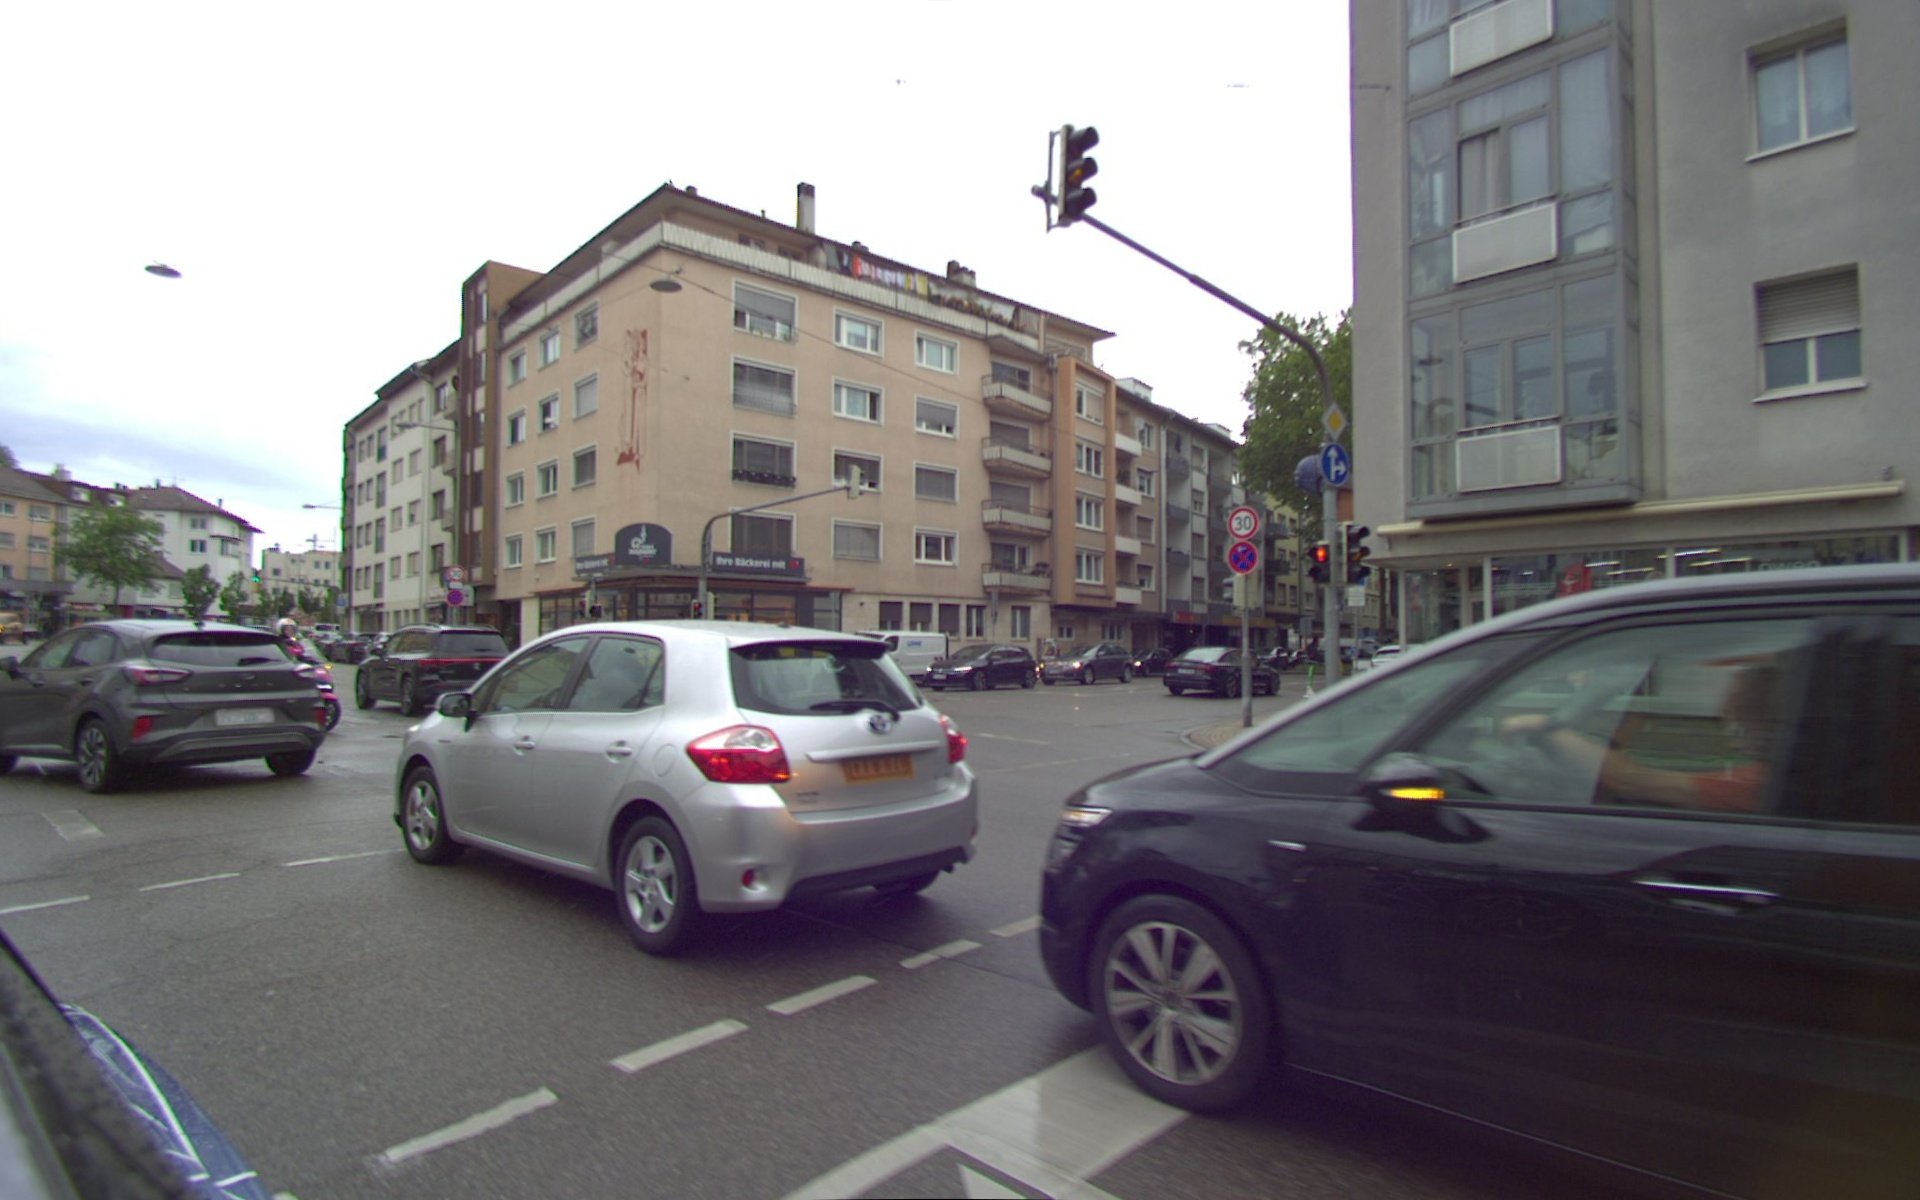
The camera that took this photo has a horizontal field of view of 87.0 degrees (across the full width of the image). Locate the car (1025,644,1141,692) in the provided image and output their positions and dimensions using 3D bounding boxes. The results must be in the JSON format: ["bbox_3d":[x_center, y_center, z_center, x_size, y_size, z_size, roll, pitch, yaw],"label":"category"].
[{"bbox_3d":[4.504,2.413,36.450,2.044,1.602,4.595,-3,-4,38],"label":"car"}]

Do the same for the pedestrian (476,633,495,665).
[{"bbox_3d":[-23.387,2.411,49.876,0.668,1.595,0.538,-1,-2,35],"label":"pedestrian"}]

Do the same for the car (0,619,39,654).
[{"bbox_3d":[-60.135,2.275,63.014,2.162,2.102,5.952,1,-2,-22],"label":"car"}]

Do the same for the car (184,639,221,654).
[{"bbox_3d":[-73.015,4.461,97.576,1.783,1.352,4.013,0,-1,-21],"label":"car"}]

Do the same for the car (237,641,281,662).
[{"bbox_3d":[-58.232,4.260,84.124,1.836,1.659,4.267,3,-3,-19],"label":"car"}]

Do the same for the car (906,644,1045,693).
[{"bbox_3d":[0.542,2.076,31.054,2.044,1.387,4.283,-3,-4,39],"label":"car"}]

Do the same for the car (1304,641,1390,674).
[{"bbox_3d":[21.305,3.198,55.763,3.993,1.674,1.867,-4,-3,37],"label":"car"}]

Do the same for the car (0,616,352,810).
[{"bbox_3d":[-8.199,0.968,10.046,4.208,1.565,1.843,0,-3,29],"label":"car"}]

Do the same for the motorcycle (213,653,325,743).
[{"bbox_3d":[-10.183,1.402,14.881,2.096,1.200,0.582,-1,-2,33],"label":"motorcycle"}]

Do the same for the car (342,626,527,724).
[{"bbox_3d":[-10.083,1.359,19.260,4.374,1.652,1.800,-2,-4,44],"label":"car"}]

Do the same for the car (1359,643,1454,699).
[{"bbox_3d":[14.419,2.239,32.580,2.041,1.644,4.289,-1,-3,34],"label":"car"}]

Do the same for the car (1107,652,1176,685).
[{"bbox_3d":[9.249,3.439,51.411,1.837,1.502,4.212,2,-1,34],"label":"car"}]

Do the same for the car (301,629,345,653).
[{"bbox_3d":[-59.176,3.762,94.066,2.089,2.029,5.143,-1,0,-15],"label":"car"}]

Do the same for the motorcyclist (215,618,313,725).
[{"bbox_3d":[-10.281,1.028,14.964,0.862,1.505,0.907,-1,-2,32],"label":"motorcyclist"}]

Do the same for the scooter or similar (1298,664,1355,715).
[{"bbox_3d":[8.137,1.995,22.478,1.128,1.103,0.362,-3,-5,24],"label":"scooter or similar"}]

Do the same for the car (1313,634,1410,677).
[{"bbox_3d":[22.960,3.217,58.012,4.762,2.324,1.867,-4,-3,37],"label":"car"}]

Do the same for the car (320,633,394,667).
[{"bbox_3d":[-28.802,2.365,48.269,1.970,1.488,4.521,4,-4,-44],"label":"car"}]

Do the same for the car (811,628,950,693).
[{"bbox_3d":[-2.792,2.150,36.353,2.047,2.118,4.798,1,-1,43],"label":"car"}]

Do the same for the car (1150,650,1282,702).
[{"bbox_3d":[7.624,2.208,29.844,1.999,1.398,4.438,-1,-4,41],"label":"car"}]

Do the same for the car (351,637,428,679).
[{"bbox_3d":[-23.699,2.383,41.952,1.884,1.566,4.638,4,-4,-40],"label":"car"}]

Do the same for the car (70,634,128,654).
[{"bbox_3d":[-66.388,3.377,78.085,1.813,1.453,4.010,-1,-1,-14],"label":"car"}]

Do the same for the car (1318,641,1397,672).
[{"bbox_3d":[23.778,3.396,60.639,3.993,1.674,1.867,-4,-3,37],"label":"car"}]

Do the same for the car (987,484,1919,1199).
[{"bbox_3d":[2.308,0.634,2.617,4.433,1.620,1.800,-1,-3,45],"label":"car"}]

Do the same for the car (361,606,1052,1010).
[{"bbox_3d":[-1.702,0.843,5.973,4.133,1.538,1.914,0,-3,41],"label":"car"}]

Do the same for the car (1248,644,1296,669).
[{"bbox_3d":[20.918,3.767,67.736,1.837,1.502,4.212,2,-1,34],"label":"car"}]
